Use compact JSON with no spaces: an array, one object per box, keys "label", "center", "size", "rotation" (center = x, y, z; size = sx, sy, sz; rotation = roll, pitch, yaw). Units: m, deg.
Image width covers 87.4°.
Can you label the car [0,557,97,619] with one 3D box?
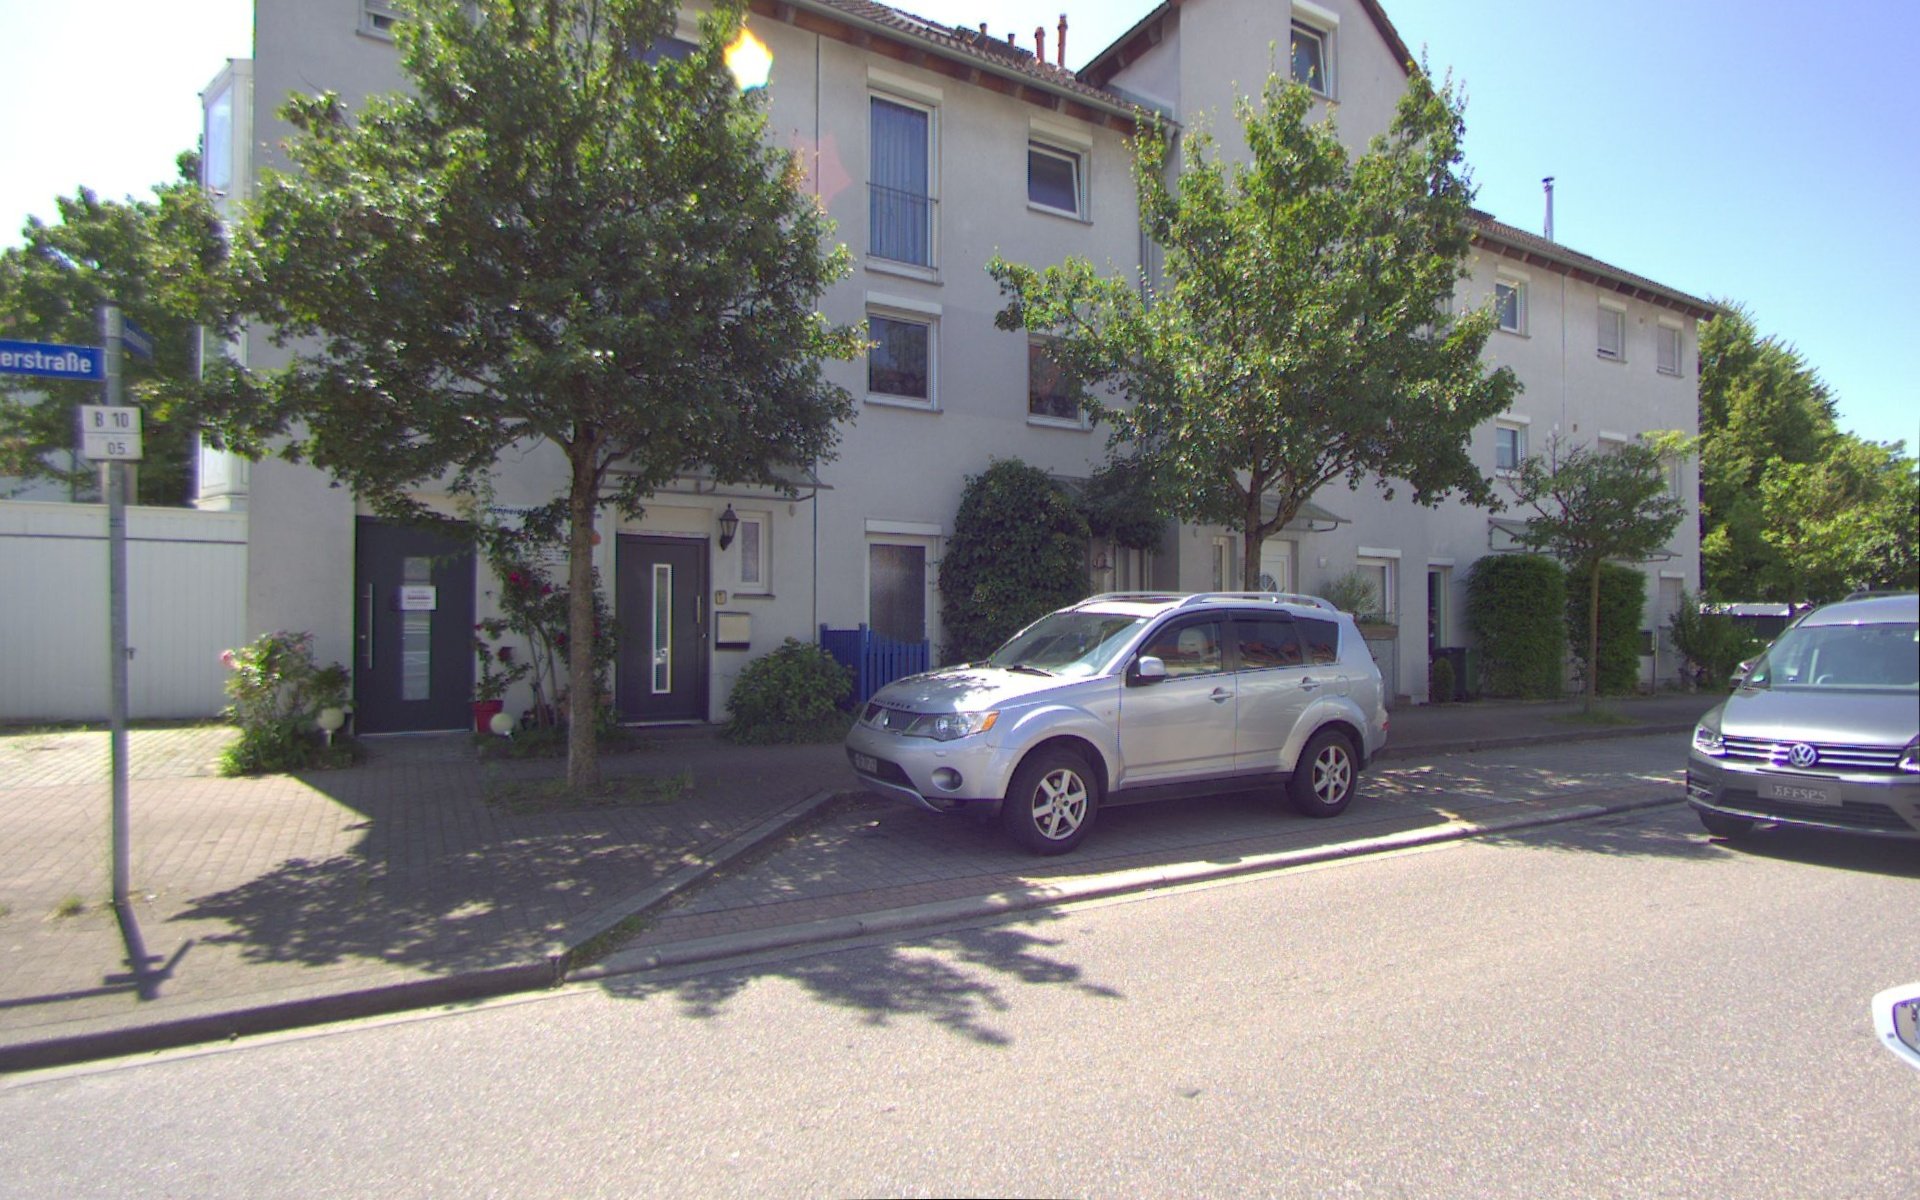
[{"label":"car","center":[-23.798,-0.333,25.433],"size":[1.668,1.447,3.980],"rotation":[1,1,-21]}]

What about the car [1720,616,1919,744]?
[{"label":"car","center":[13.024,1.079,14.664],"size":[3.950,1.641,1.684],"rotation":[1,-1,-30]}]

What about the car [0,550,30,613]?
[{"label":"car","center":[-25.935,-0.512,25.426],"size":[1.720,1.645,3.988],"rotation":[3,0,-14]}]

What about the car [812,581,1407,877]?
[{"label":"car","center":[1.277,0.782,7.699],"size":[4.474,1.709,1.697],"rotation":[1,0,-31]}]

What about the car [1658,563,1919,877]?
[{"label":"car","center":[7.356,0.778,7.635],"size":[4.412,1.879,1.648],"rotation":[1,-3,-30]}]
